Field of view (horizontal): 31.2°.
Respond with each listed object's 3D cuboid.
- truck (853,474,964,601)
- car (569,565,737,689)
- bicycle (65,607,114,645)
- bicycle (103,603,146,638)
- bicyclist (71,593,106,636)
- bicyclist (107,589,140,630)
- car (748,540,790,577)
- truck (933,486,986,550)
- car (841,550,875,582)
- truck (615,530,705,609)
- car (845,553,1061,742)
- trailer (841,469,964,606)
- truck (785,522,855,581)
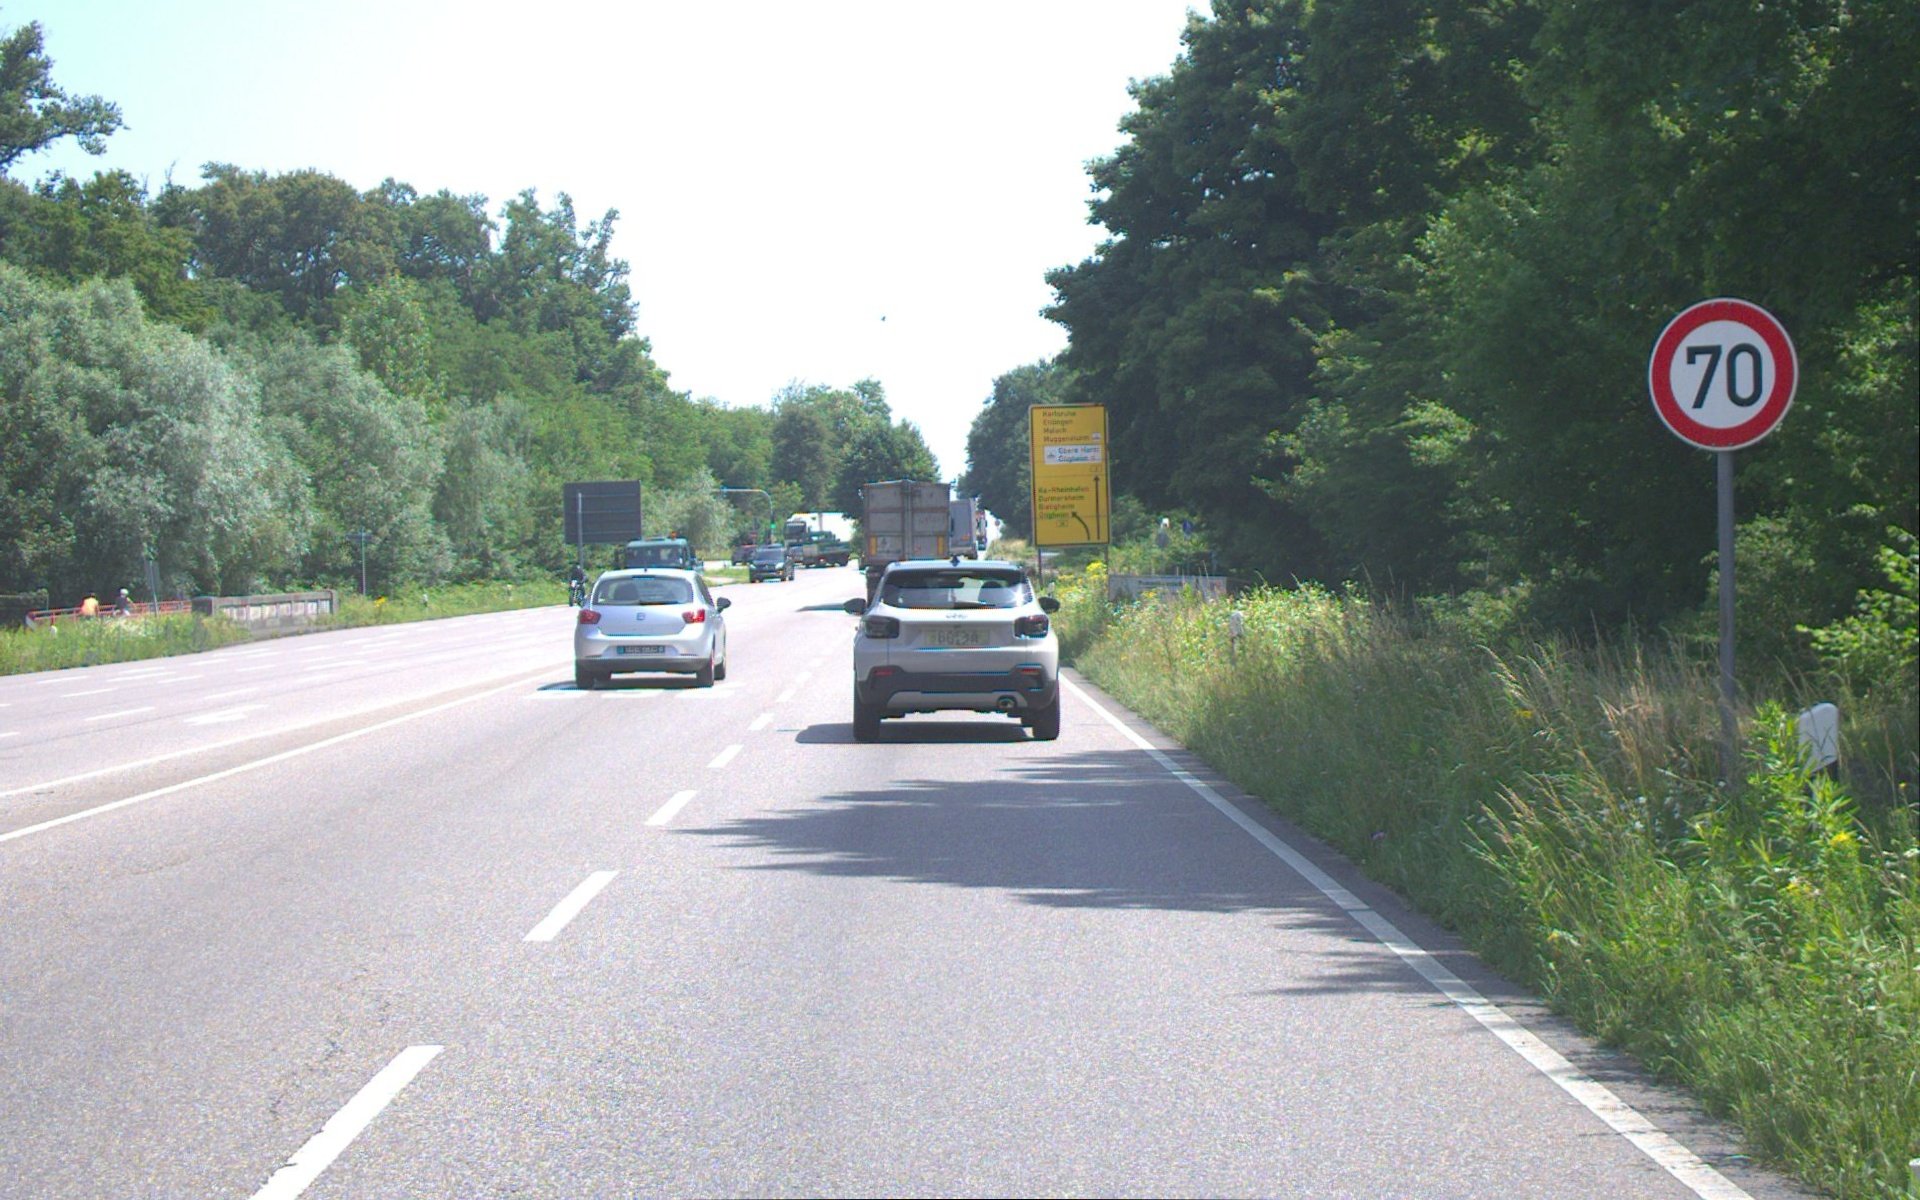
[{"bbox_3d":[-1.596,-1.985,110.862,3.333,3.975,6.533,0,0,1],"label":"truck"},{"bbox_3d":[-3.727,0.294,42.259,1.666,1.425,3.828,0,1,1],"label":"car"},{"bbox_3d":[-25.312,0.758,99.981,0.676,1.001,1.800,-3,1,10],"label":"bicycle"},{"bbox_3d":[-25.090,0.617,103.257,0.604,1.002,1.555,-3,0,11],"label":"bicycle"},{"bbox_3d":[-25.337,0.416,99.913,0.757,1.191,0.592,-3,1,11],"label":"bicyclist"},{"bbox_3d":[-25.113,0.295,103.178,0.735,1.191,0.591,-3,0,11],"label":"bicyclist"},{"bbox_3d":[-10.274,-2.255,185.183,1.993,1.875,4.960,-2,1,0],"label":"car"},{"bbox_3d":[-0.084,-5.523,234.623,3.497,4.173,10.784,0,0,0],"label":"truck"},{"bbox_3d":[-6.687,-2.235,224.461,1.993,2.007,4.554,-2,1,-4],"label":"car"},{"bbox_3d":[-10.881,-1.148,124.998,2.454,2.647,6.491,-4,1,1],"label":"truck"},{"bbox_3d":[-0.028,0.371,30.577,1.767,1.529,4.000,-1,1,1],"label":"car"},{"bbox_3d":[-1.674,-1.885,106.068,3.383,3.975,10.804,0,0,1],"label":"trailer"},{"bbox_3d":[-10.274,-3.524,251.551,3.645,4.091,9.511,-2,1,-11],"label":"truck"}]
